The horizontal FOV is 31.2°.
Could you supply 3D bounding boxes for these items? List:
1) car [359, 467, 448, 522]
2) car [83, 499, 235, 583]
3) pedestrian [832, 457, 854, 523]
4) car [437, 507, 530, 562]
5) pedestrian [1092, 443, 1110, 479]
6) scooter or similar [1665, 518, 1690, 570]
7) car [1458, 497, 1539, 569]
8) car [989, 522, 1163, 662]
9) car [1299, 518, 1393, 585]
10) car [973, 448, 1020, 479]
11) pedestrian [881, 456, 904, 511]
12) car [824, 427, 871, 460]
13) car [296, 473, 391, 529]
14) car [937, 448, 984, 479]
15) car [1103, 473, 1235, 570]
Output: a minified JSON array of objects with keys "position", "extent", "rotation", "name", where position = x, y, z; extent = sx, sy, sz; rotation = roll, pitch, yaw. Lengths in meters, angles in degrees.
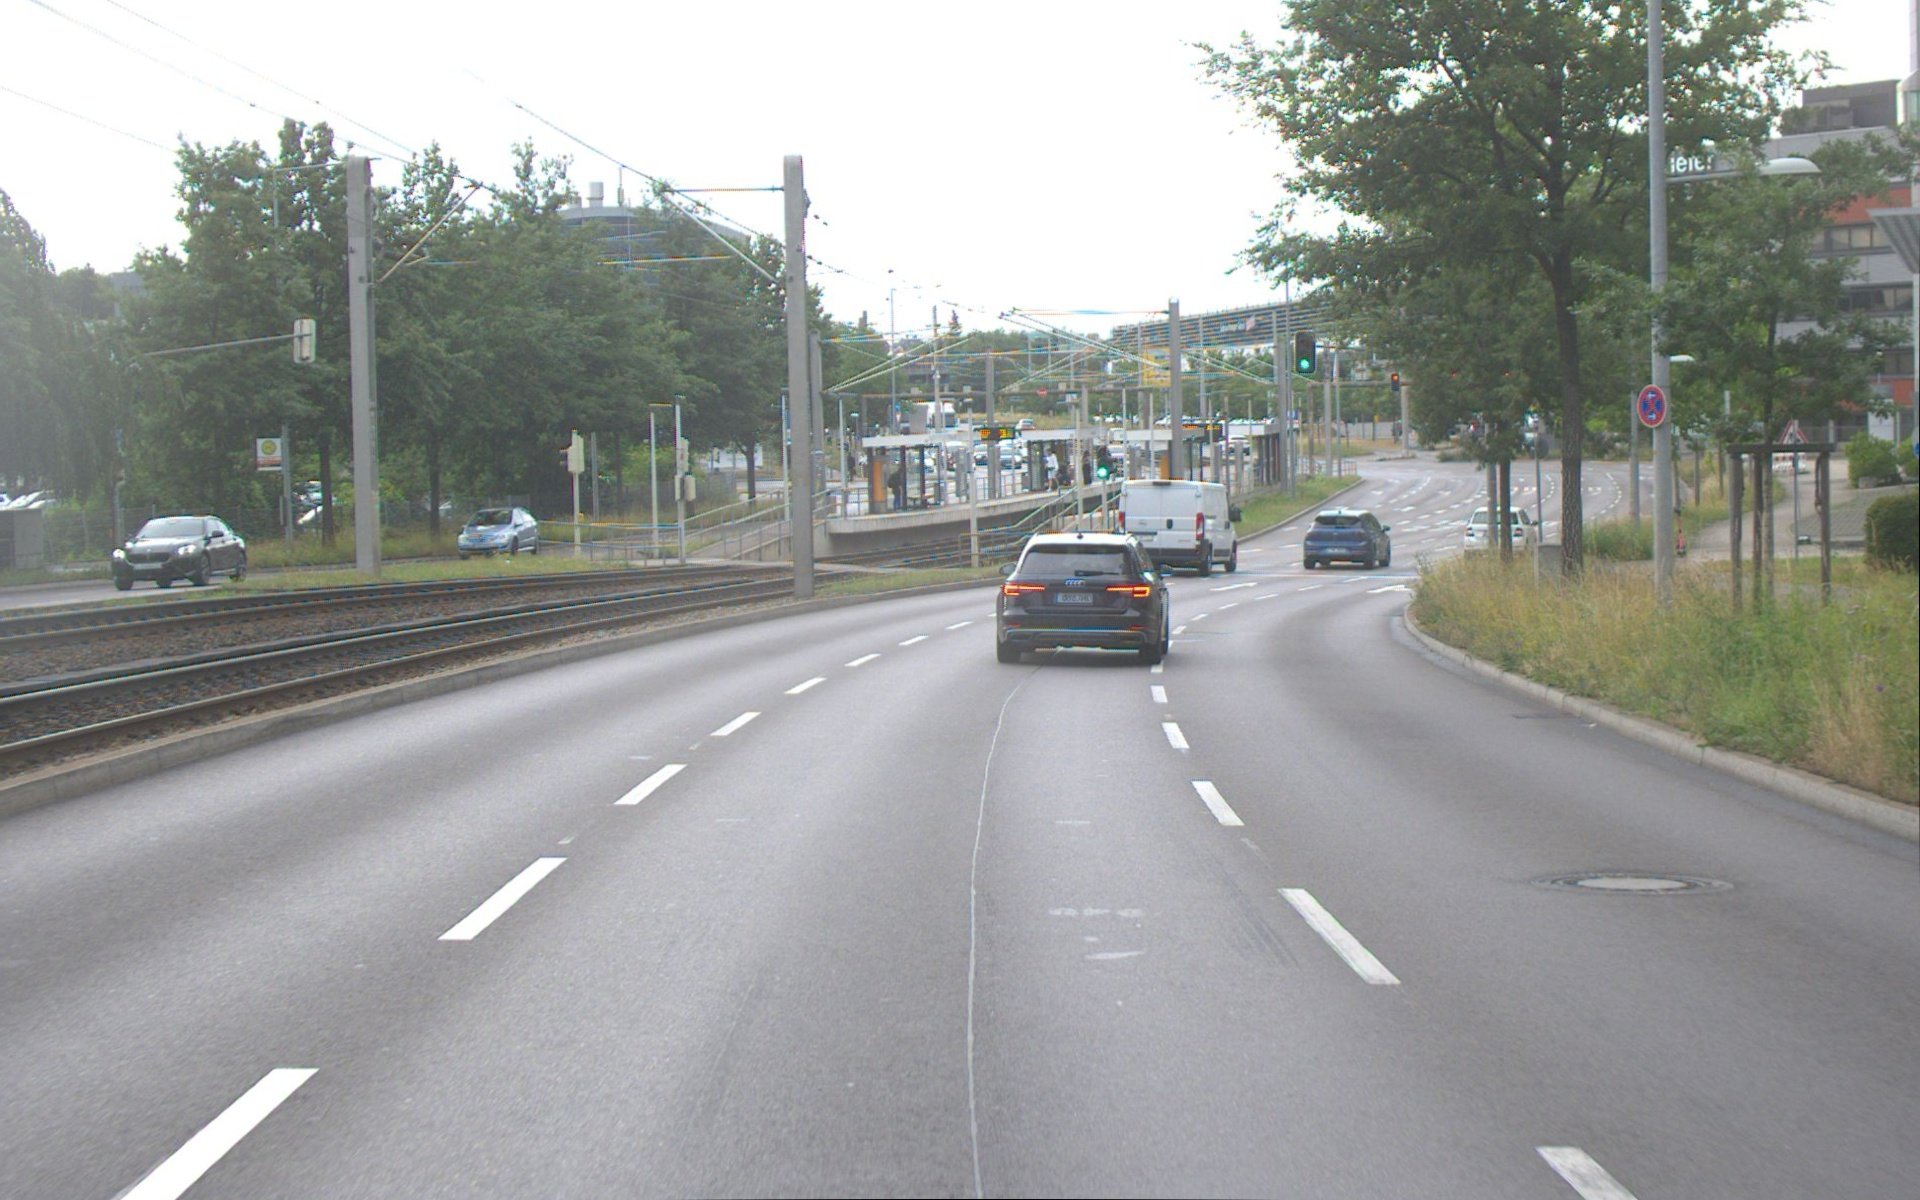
[{"position":[-21.365,-4.044,132.155],"extent":[1.995,2.007,3.998],"rotation":[1,1,13],"name":"car"},{"position":[-16.123,-1.216,69.441],"extent":[1.883,1.515,4.403],"rotation":[-4,2,1],"name":"car"},{"position":[-3.500,-3.287,102.818],"extent":[0.549,1.946,0.664],"rotation":[1,0,7],"name":"pedestrian"},{"position":[-15.013,-2.082,108.487],"extent":[1.994,1.674,3.999],"rotation":[1,2,6],"name":"car"},{"position":[6.976,-6.862,169.804],"extent":[0.752,1.745,0.763],"rotation":[1,0,11],"name":"pedestrian"},{"position":[18.016,-1.419,86.360],"extent":[0.457,1.259,1.337],"rotation":[-3,1,8],"name":"scooter or similar"},{"position":[14.622,-1.842,93.284],"extent":[2.022,1.763,3.999],"rotation":[1,4,11],"name":"car"},{"position":[1.354,-0.140,38.573],"extent":[1.764,1.458,4.626],"rotation":[1,1,4],"name":"car"},{"position":[9.723,-1.203,86.429],"extent":[2.022,1.617,3.998],"rotation":[1,0,11],"name":"car"},{"position":[2.560,-9.584,242.177],"extent":[1.993,2.007,4.001],"rotation":[1,0,-20],"name":"car"},{"position":[-2.319,-4.004,118.391],"extent":[0.637,1.848,0.750],"rotation":[1,0,10],"name":"pedestrian"},{"position":[-7.651,-10.625,233.479],"extent":[1.993,2.007,4.001],"rotation":[1,0,-20],"name":"car"},{"position":[-22.757,-3.647,127.023],"extent":[1.995,2.007,3.998],"rotation":[1,1,13],"name":"car"},{"position":[0.040,-9.592,241.200],"extent":[1.993,2.007,4.001],"rotation":[1,0,-20],"name":"car"},{"position":[5.009,-1.833,81.655],"extent":[2.512,2.169,5.147],"rotation":[1,0,10],"name":"car"}]
